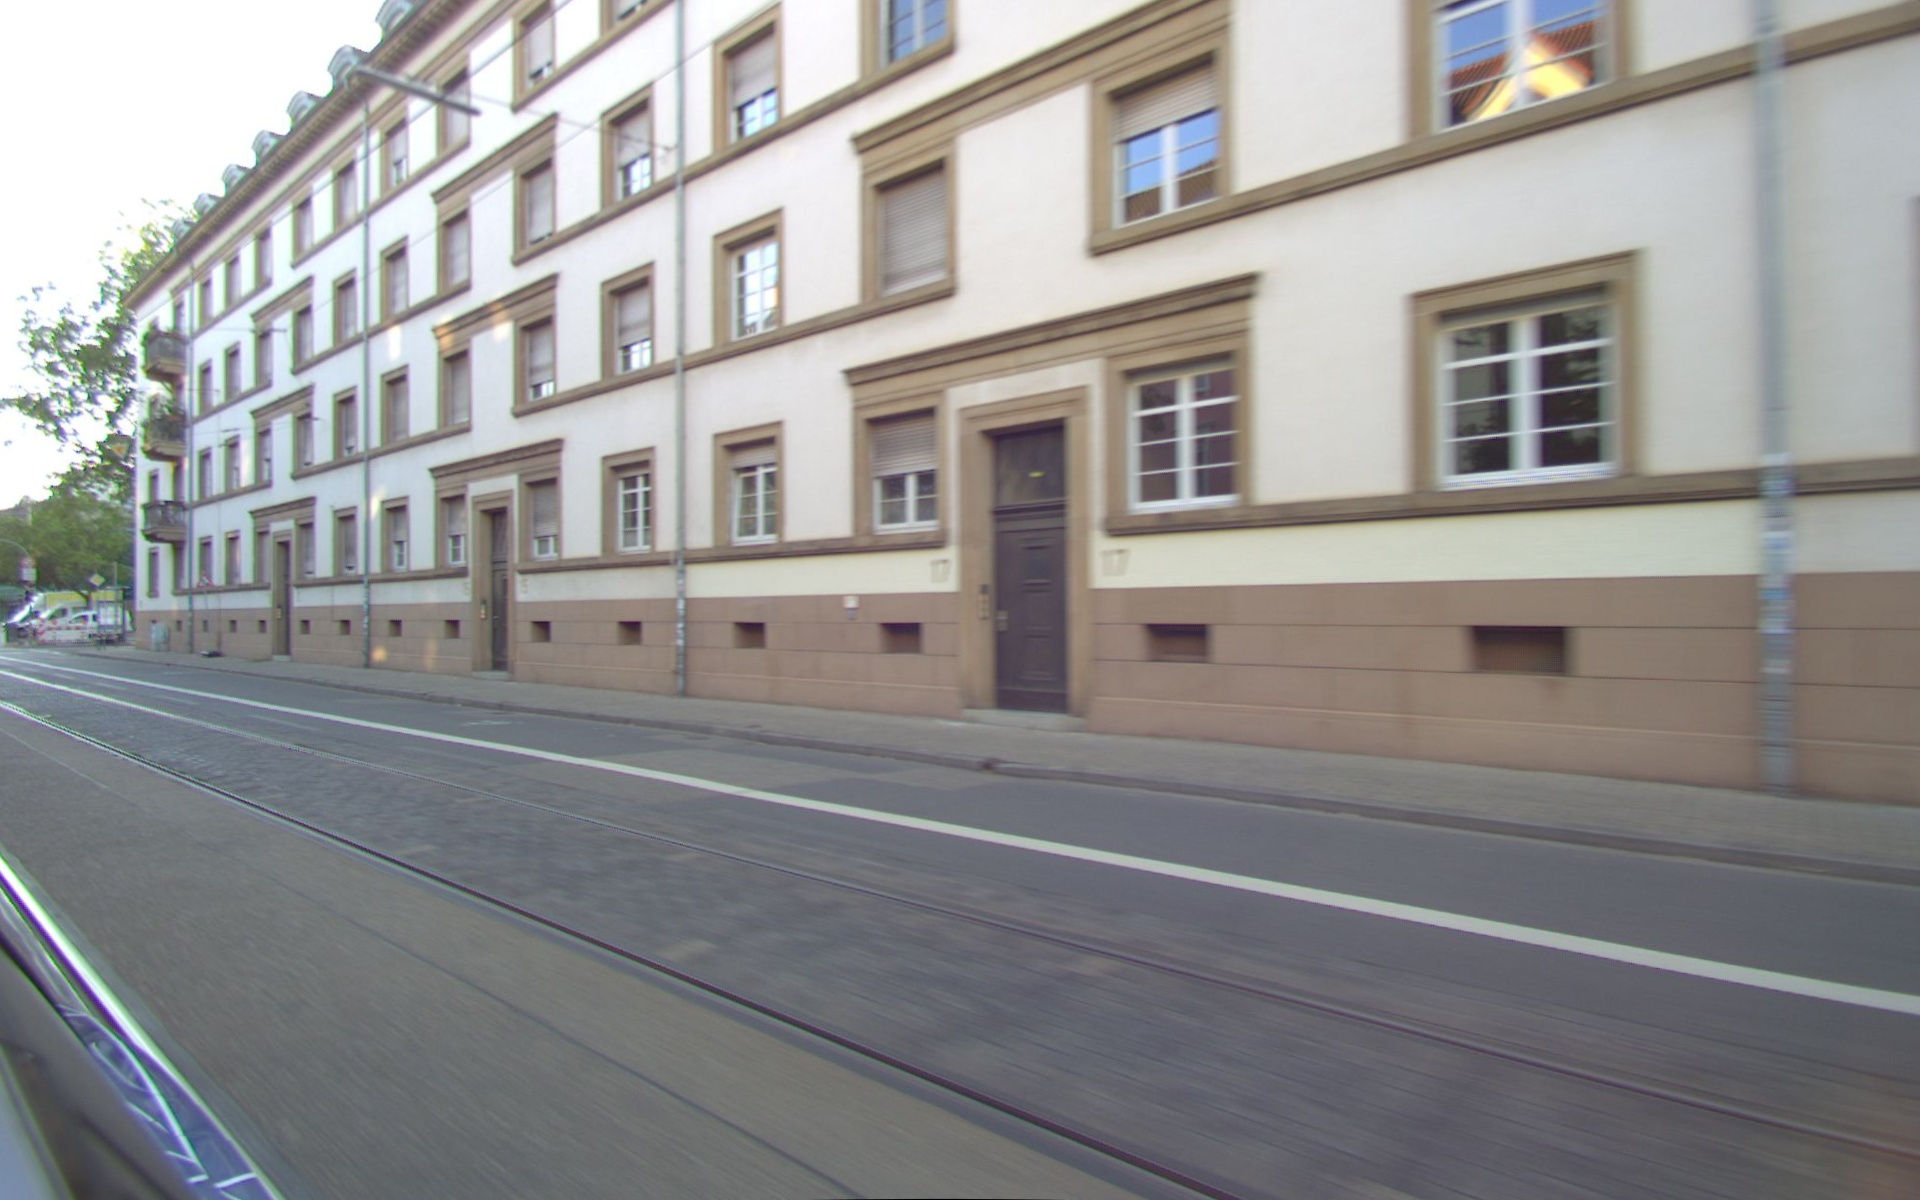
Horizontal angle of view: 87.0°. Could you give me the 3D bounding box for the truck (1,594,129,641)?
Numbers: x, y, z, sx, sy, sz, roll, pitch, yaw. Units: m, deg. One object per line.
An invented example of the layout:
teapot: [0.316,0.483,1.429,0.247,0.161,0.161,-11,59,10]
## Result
truck: [-68.618,1.317,77.744,2.562,3.454,6.992,-2,-1,37]

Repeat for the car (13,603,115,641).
car: [-64.680,1.563,73.147,2.226,2.617,5.171,-2,-1,37]

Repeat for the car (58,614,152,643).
car: [-59.435,1.972,70.421,2.015,1.888,4.782,-2,-1,42]
